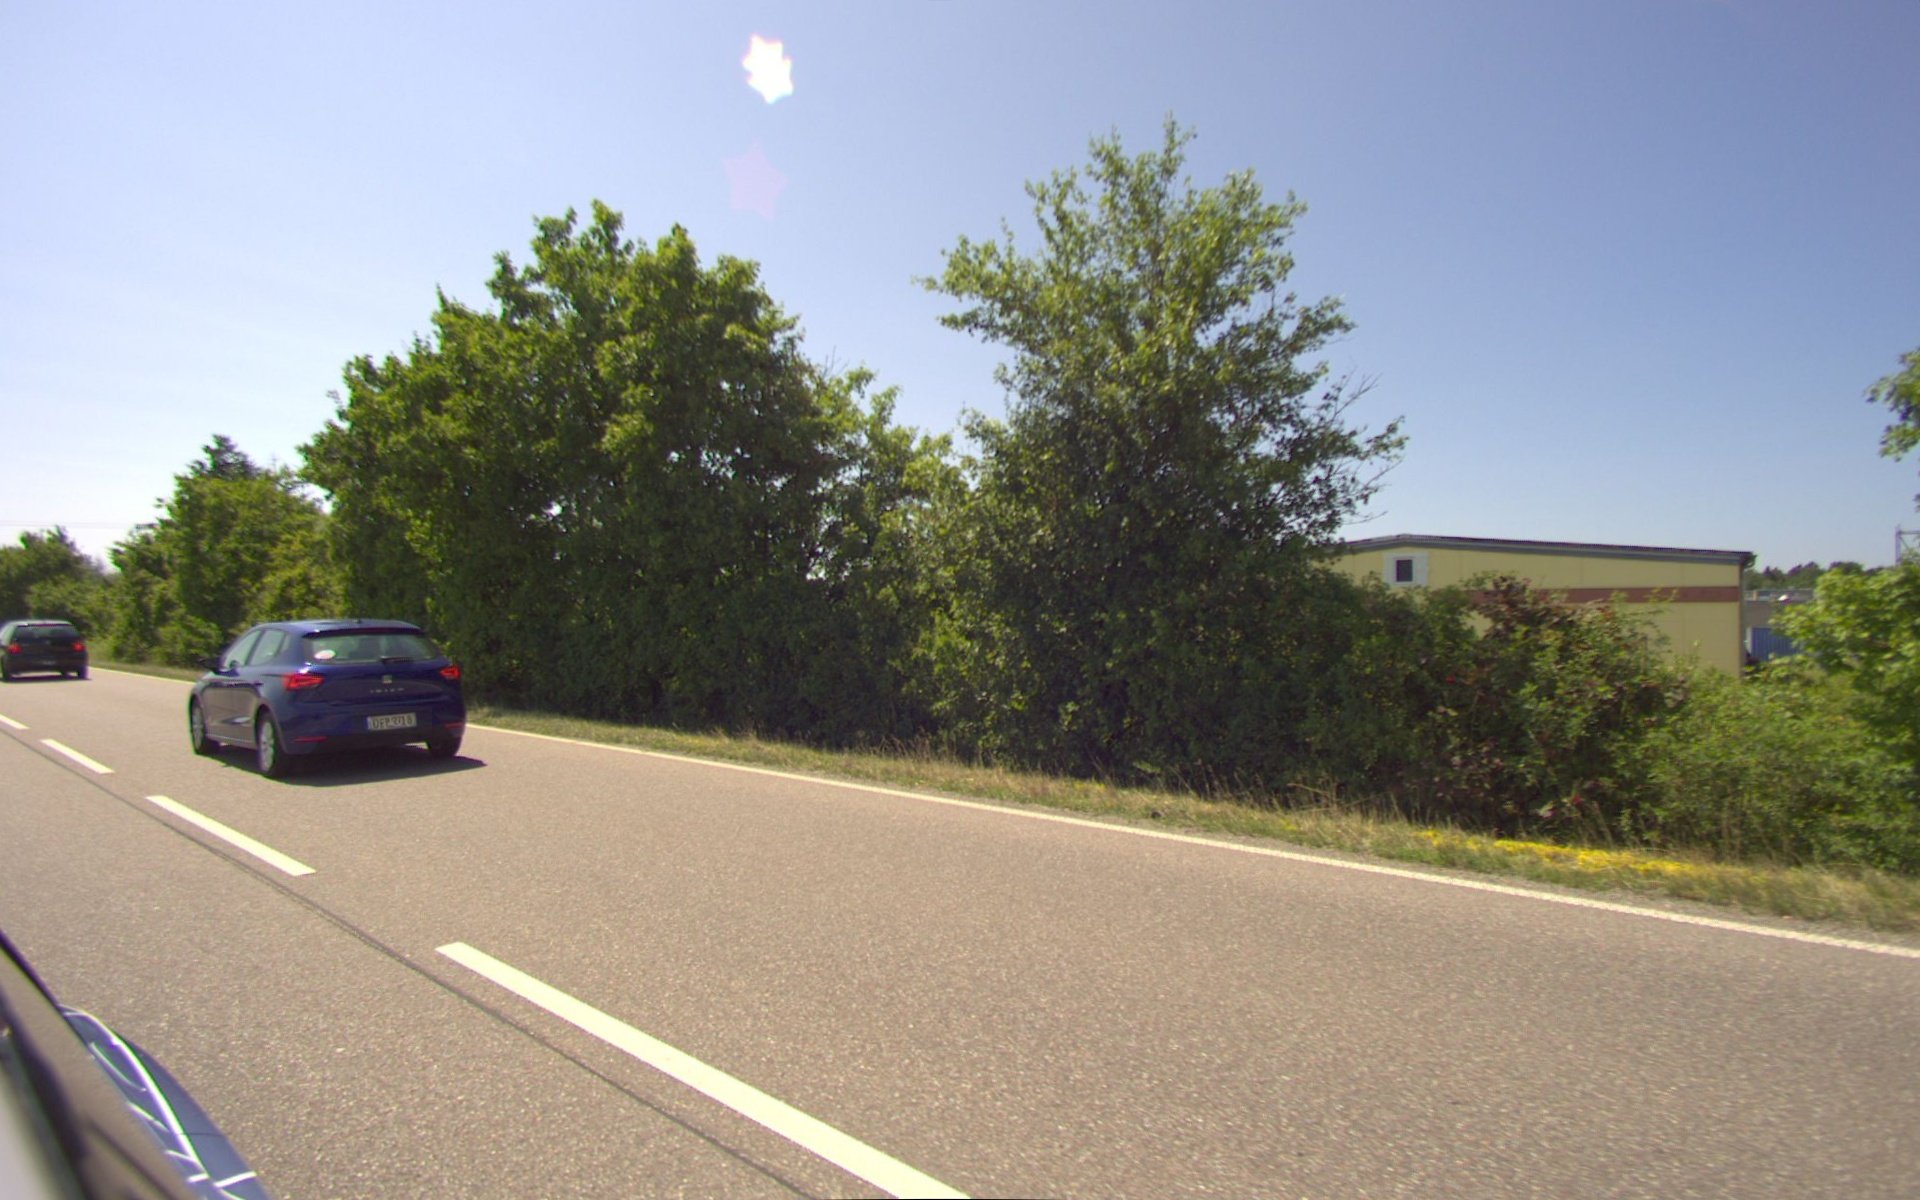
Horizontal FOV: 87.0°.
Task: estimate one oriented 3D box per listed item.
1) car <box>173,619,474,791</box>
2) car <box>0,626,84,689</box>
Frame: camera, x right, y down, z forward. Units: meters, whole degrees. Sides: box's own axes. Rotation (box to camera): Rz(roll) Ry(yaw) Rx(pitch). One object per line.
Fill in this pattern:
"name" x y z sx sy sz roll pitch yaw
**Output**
"car" -6.697 0.932 10.476 3.999 1.417 1.635 -2 -1 42
"car" -23.472 1.403 25.489 3.997 1.453 1.581 -2 -1 41
